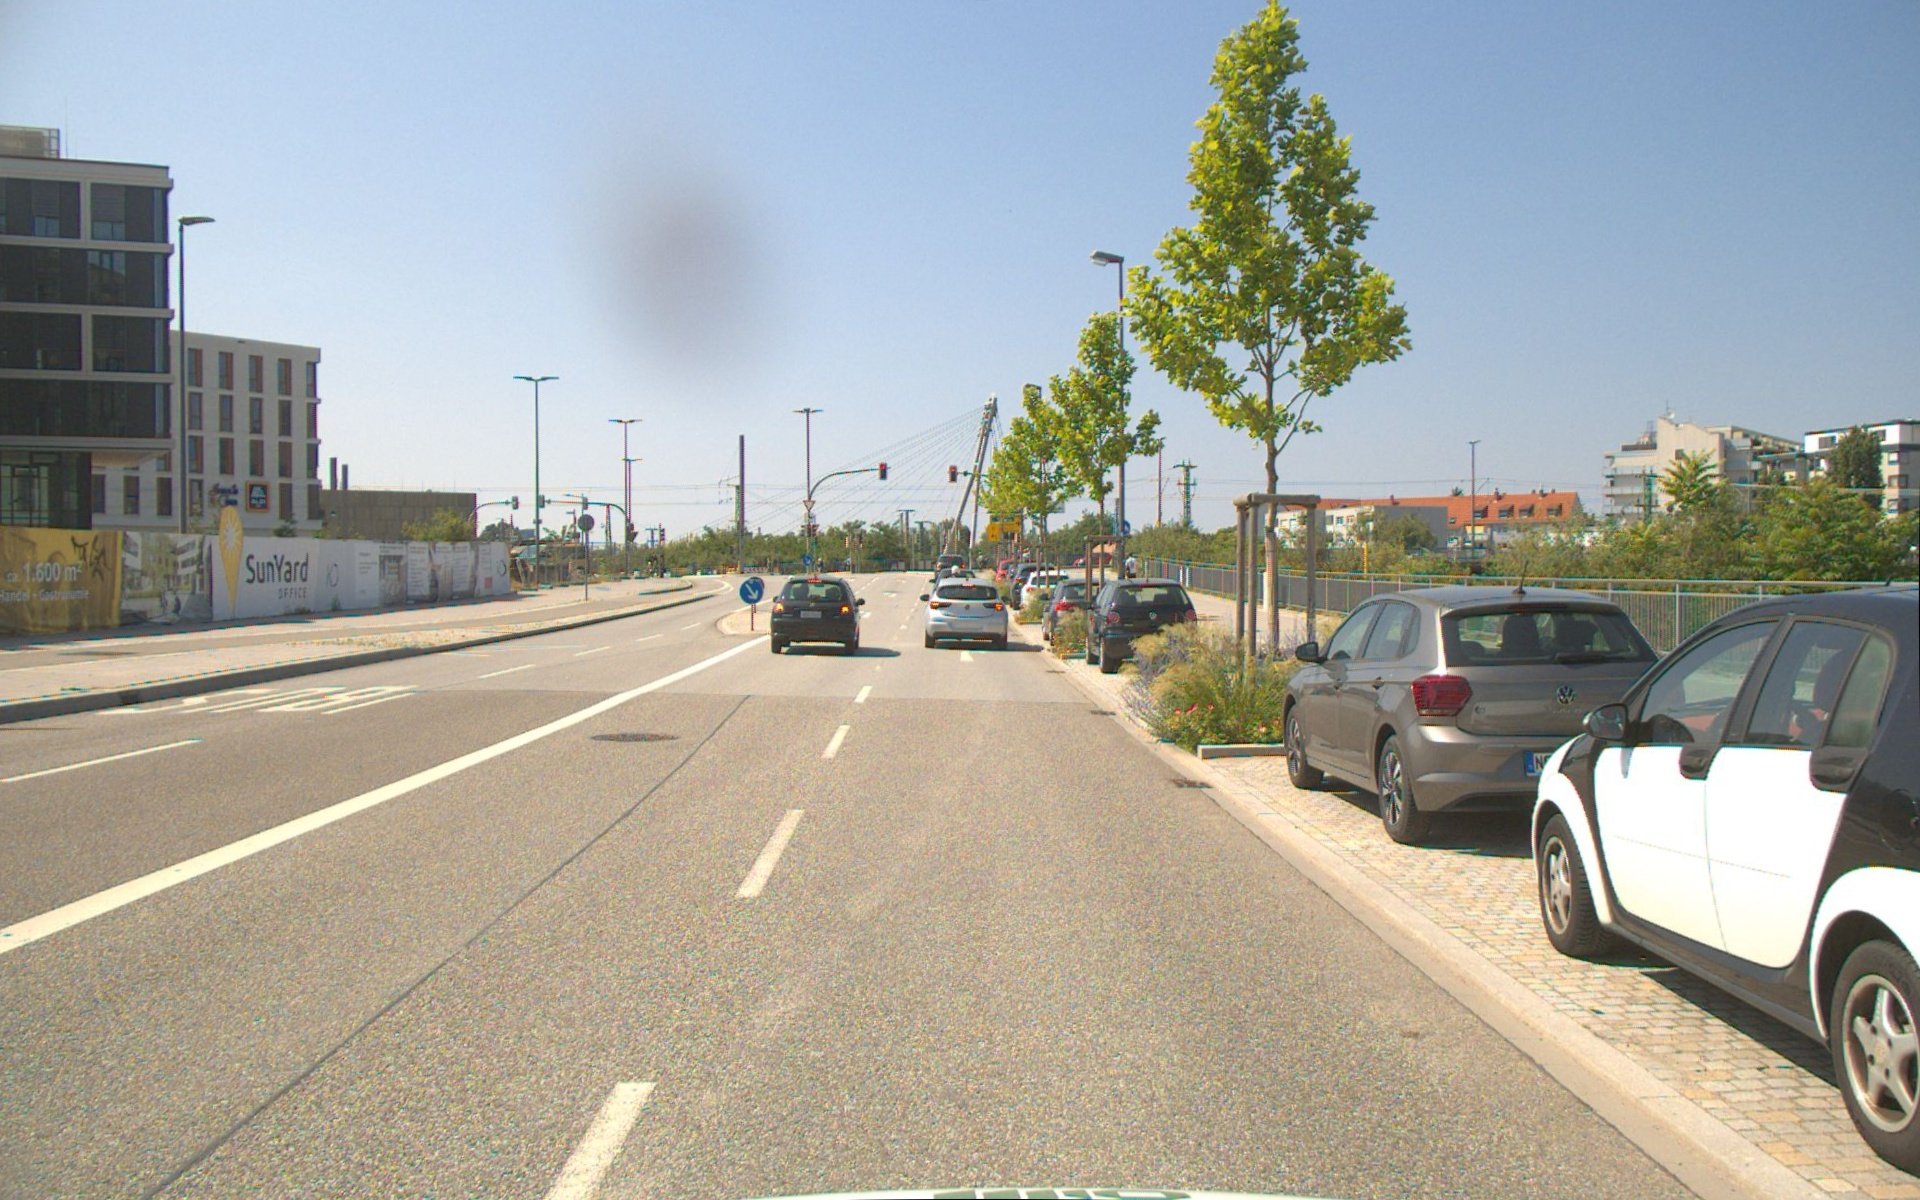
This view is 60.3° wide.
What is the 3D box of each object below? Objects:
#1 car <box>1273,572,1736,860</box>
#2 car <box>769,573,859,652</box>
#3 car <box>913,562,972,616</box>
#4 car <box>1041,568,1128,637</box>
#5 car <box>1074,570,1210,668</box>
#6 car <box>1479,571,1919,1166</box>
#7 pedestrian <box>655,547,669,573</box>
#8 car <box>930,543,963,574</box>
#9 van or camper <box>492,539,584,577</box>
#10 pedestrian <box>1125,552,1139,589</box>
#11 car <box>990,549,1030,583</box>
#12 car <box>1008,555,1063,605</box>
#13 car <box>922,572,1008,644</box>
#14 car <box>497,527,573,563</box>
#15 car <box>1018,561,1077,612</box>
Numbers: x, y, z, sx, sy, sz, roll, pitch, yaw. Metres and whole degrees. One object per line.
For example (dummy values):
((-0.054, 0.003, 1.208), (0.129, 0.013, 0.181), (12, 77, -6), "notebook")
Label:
((3.309, 0.589, 10.884), (1.669, 1.488, 3.954), (-2, 1, -1), "car")
((-2.791, 0.193, 32.173), (1.587, 1.441, 3.725), (0, 1, -3), "car")
((-0.538, -0.362, 51.006), (1.742, 1.596, 4.000), (0, 1, 0), "car")
((2.760, 0.027, 37.395), (1.669, 1.426, 4.270), (-2, 0, 1), "car")
((3.003, 0.302, 27.985), (1.670, 1.488, 3.952), (-2, 0, -3), "car")
((3.271, 0.649, 5.856), (1.669, 1.488, 4.086), (0, 1, 1), "car")
((-18.981, -2.540, 105.335), (0.828, 1.675, 0.827), (0, 1, -6), "pedestrian")
((-0.738, -2.278, 89.563), (1.742, 1.596, 4.001), (0, 2, 0), "car")
((-23.674, -2.351, 92.854), (1.965, 1.930, 4.689), (1, 0, 42), "van or camper")
((7.546, -1.293, 72.759), (0.522, 1.603, 0.524), (1, 0, 0), "pedestrian")
((2.323, -1.616, 77.403), (1.742, 1.529, 4.000), (-1, 1, 0), "car")
((2.688, -0.746, 59.514), (1.785, 1.644, 3.612), (-2, 2, 1), "car")
((0.103, 0.135, 35.769), (1.742, 1.467, 4.000), (0, 1, 0), "car")
((-25.022, -3.249, 97.392), (1.962, 2.048, 3.982), (2, 2, 38), "car")
((2.760, -0.468, 52.857), (1.662, 1.501, 4.206), (-1, 1, 0), "car")
